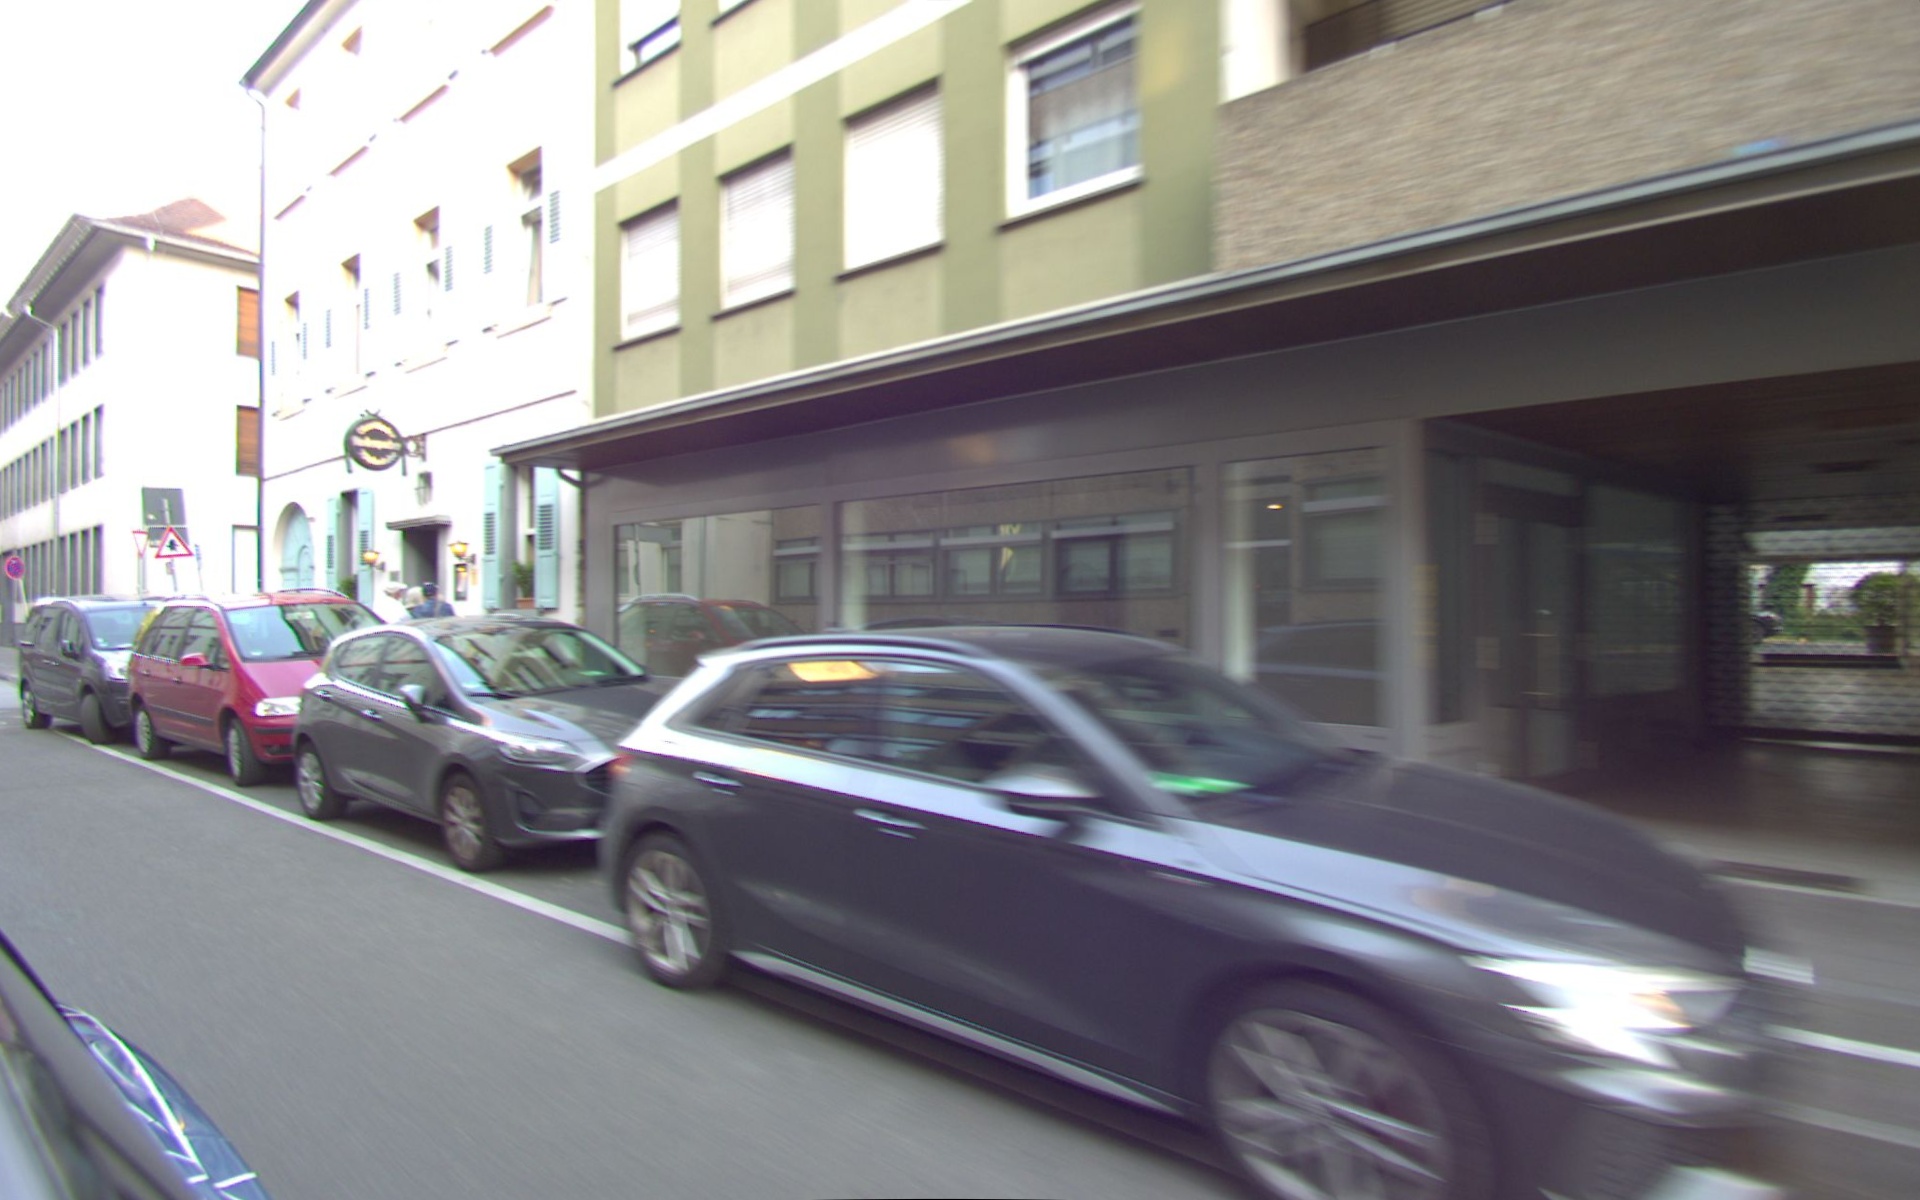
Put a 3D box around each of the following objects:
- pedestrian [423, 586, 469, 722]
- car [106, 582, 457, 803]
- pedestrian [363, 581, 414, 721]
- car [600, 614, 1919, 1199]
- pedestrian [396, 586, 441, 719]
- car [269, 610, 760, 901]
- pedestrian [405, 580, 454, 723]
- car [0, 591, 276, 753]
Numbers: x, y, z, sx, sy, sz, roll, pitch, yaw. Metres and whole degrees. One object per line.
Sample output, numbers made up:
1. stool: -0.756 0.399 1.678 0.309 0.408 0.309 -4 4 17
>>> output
1. pedestrian: -6.811 0.701 13.419 0.469 1.763 0.402 -1 -1 41
2. car: -7.132 0.787 10.447 4.505 1.825 1.755 -1 -1 39
3. pedestrian: -7.411 0.645 13.117 0.469 1.763 0.444 -1 -1 41
4. car: 0.569 0.773 3.555 3.976 1.426 1.608 -1 0 38
5. pedestrian: -7.327 0.697 13.690 0.469 1.763 0.402 -1 -1 41
6. car: -3.269 0.833 7.088 3.875 1.496 1.607 -1 -2 40
7. pedestrian: -6.703 0.635 12.789 0.469 1.763 0.402 -1 -1 41
8. car: -11.040 0.834 13.485 4.443 1.825 1.859 -1 -1 37
